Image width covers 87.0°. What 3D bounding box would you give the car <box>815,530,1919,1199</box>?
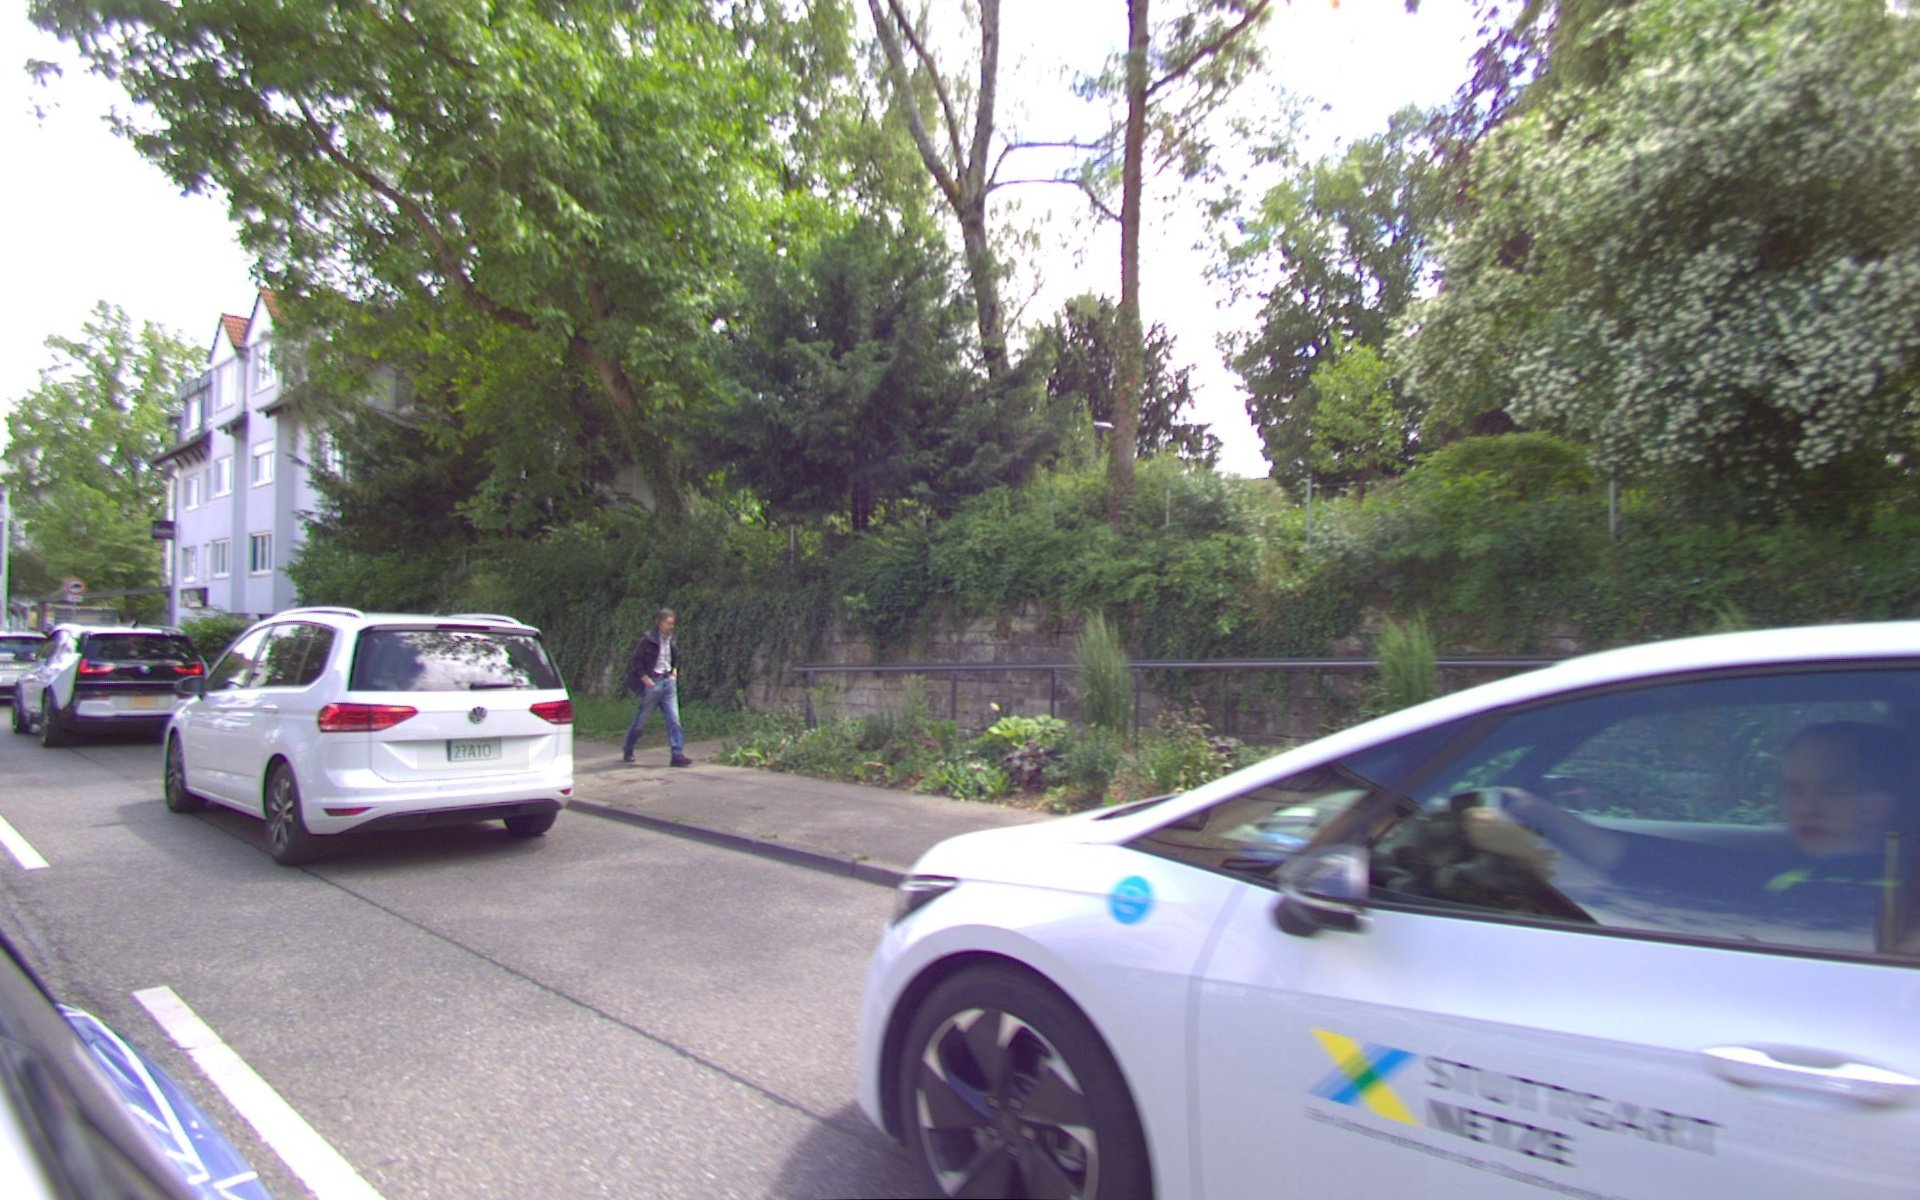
[{"bbox_3d":[1.770,0.755,1.929,4.151,1.604,1.766,-2,-4,41],"label":"car"}]

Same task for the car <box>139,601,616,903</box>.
[{"bbox_3d":[-4.647,0.932,7.757,4.488,1.660,1.767,-2,-4,41],"label":"car"}]

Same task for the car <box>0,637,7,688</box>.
[{"bbox_3d":[-29.631,1.772,29.810,4.284,1.467,1.692,-1,-5,40],"label":"car"}]

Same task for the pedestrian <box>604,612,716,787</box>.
[{"bbox_3d":[-3.051,0.968,10.295,0.930,1.679,0.647,0,-1,36],"label":"pedestrian"}]

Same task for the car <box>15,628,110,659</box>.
[{"bbox_3d":[-61.367,2.930,69.257,2.092,2.024,4.577,-1,-1,37],"label":"car"}]

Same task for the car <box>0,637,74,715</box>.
[{"bbox_3d":[-19.431,1.483,20.417,3.967,1.450,1.741,-2,-4,41],"label":"car"}]

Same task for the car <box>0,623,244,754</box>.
[{"bbox_3d":[-11.792,1.173,14.148,4.084,1.558,1.908,-2,-5,41],"label":"car"}]

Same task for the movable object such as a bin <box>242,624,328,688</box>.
[{"bbox_3d":[-15.798,1.280,23.715,1.211,1.438,1.319,0,-1,34],"label":"movable object such as a bin"}]

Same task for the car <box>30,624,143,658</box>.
[{"bbox_3d":[-40.346,1.873,46.802,1.802,1.436,3.659,-1,-1,37],"label":"car"}]

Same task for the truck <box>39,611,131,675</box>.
[{"bbox_3d":[-35.526,1.639,41.010,6.326,2.398,2.200,-1,-1,44],"label":"truck"}]
